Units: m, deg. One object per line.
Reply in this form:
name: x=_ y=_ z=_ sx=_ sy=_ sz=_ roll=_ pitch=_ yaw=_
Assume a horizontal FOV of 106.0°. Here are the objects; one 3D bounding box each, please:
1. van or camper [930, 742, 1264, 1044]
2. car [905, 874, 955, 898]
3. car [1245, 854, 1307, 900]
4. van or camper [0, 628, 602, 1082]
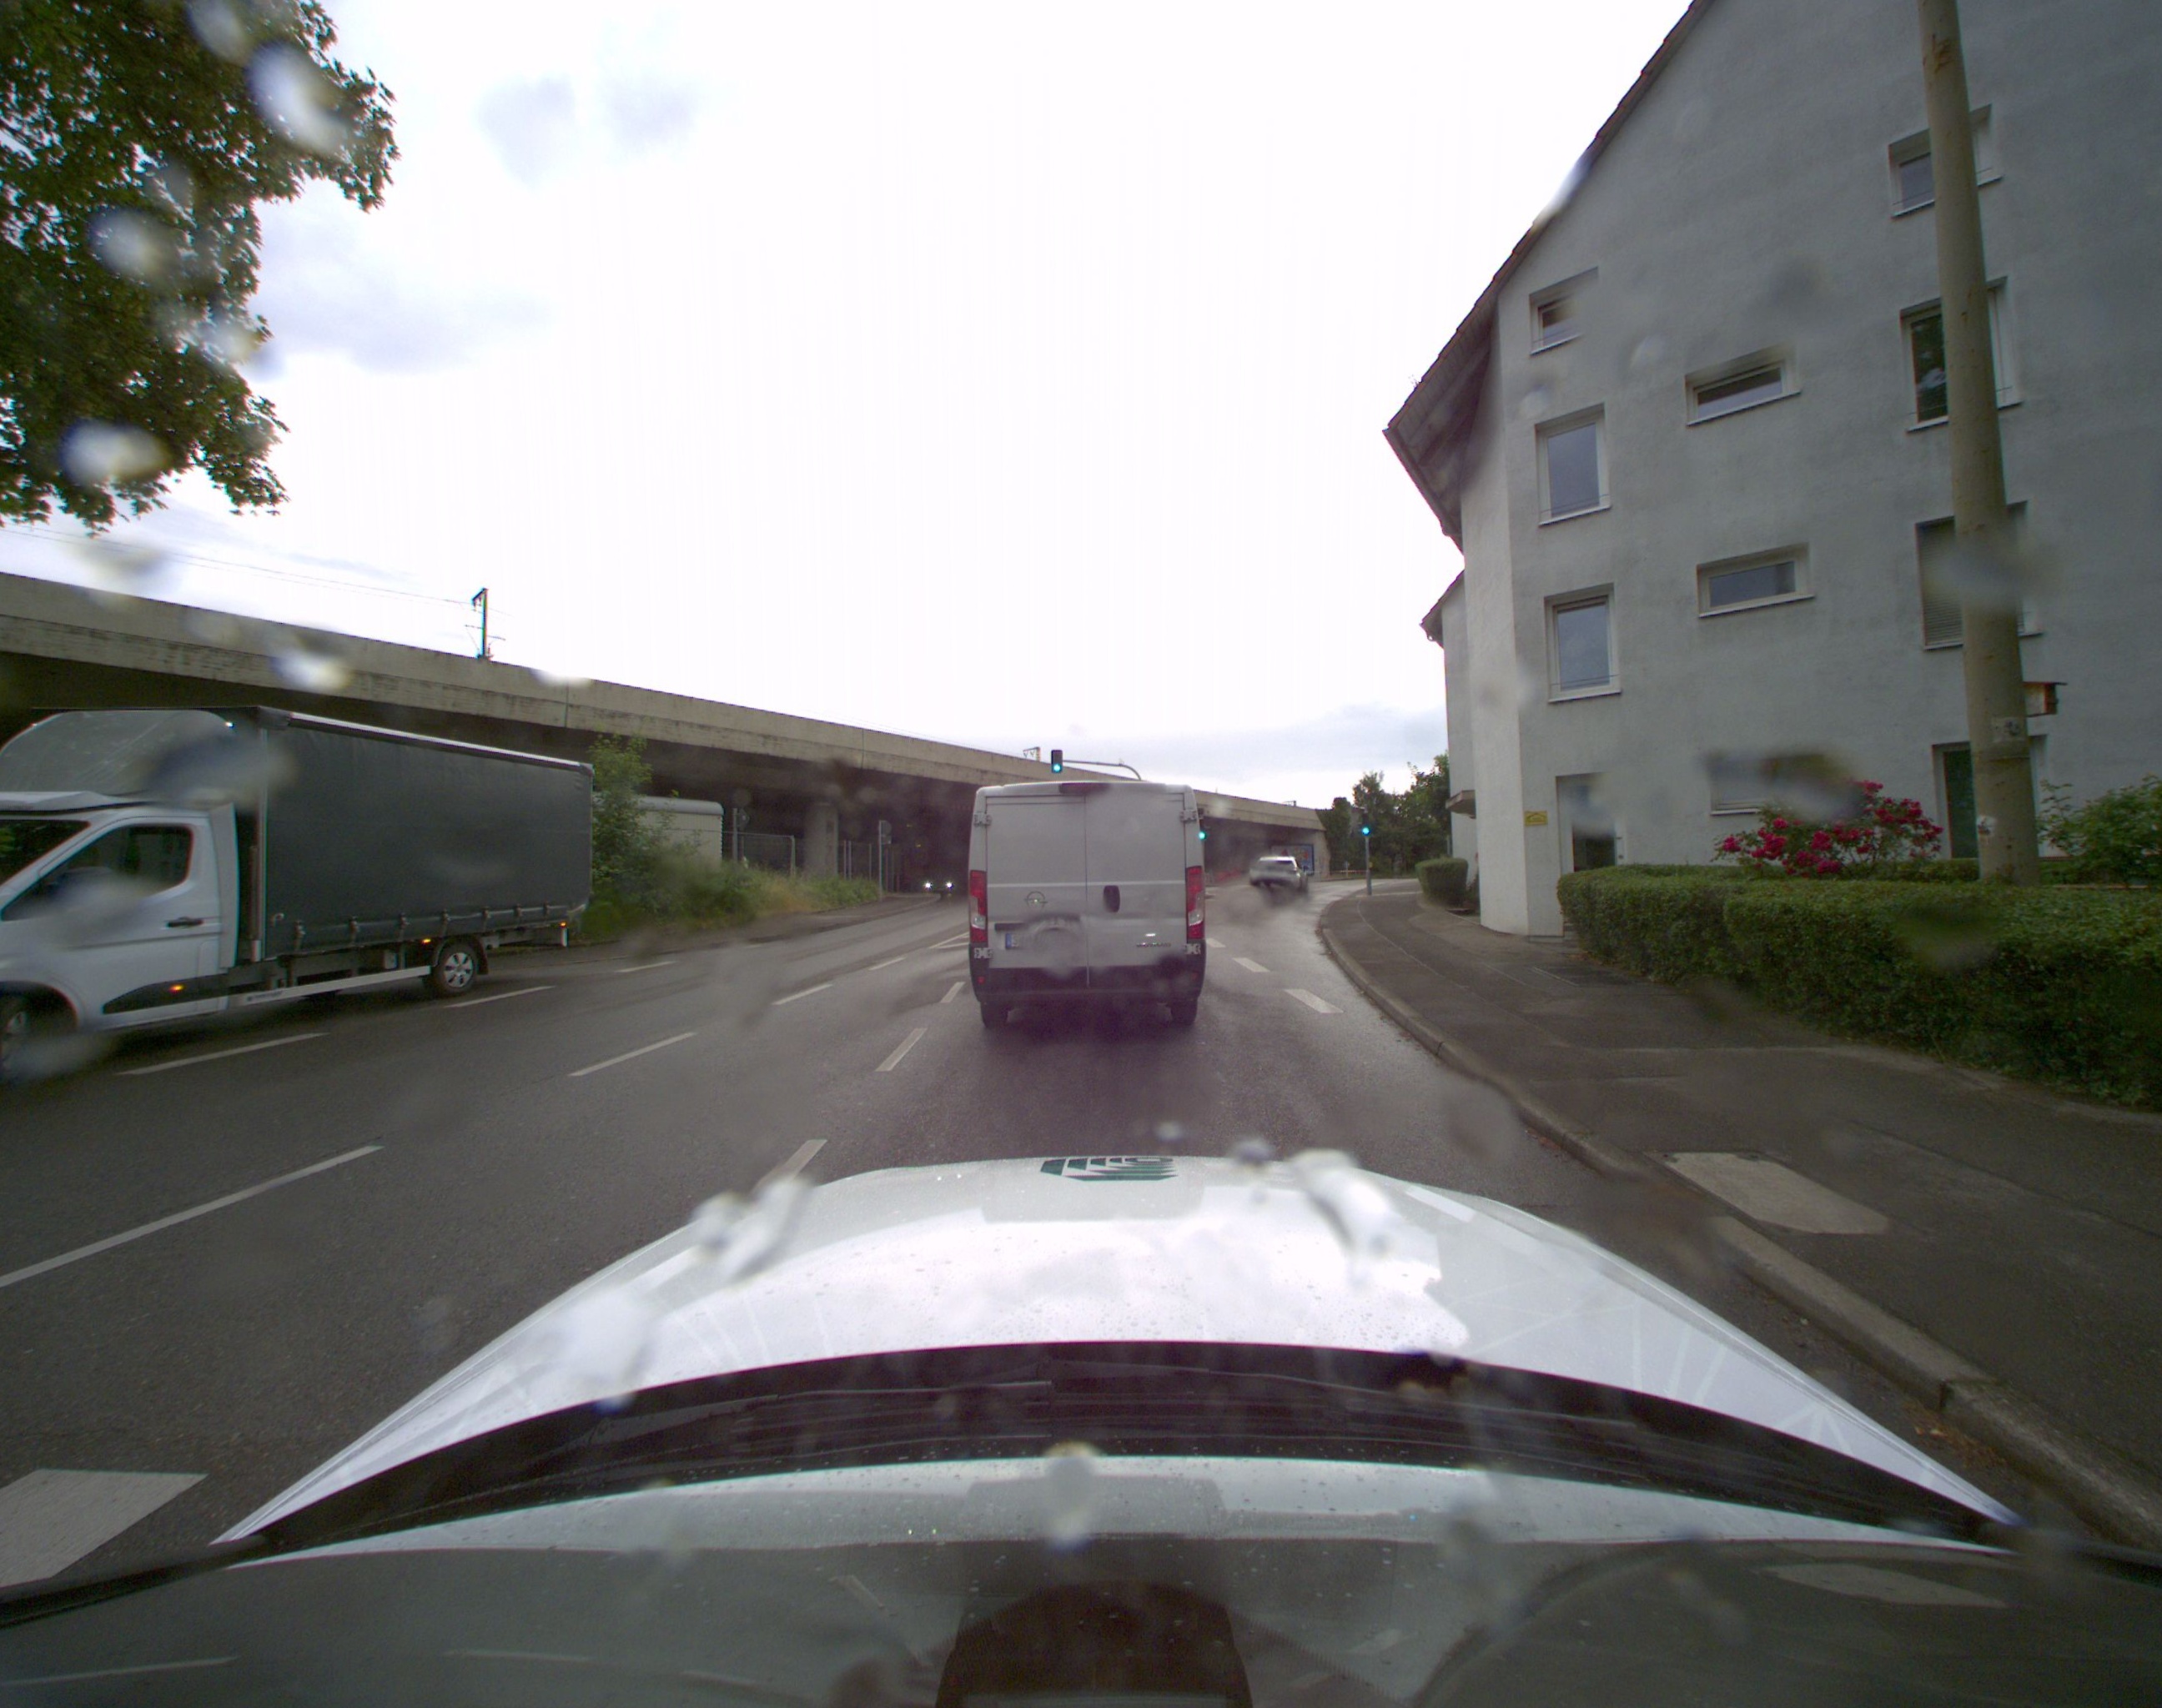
van or camper: x=0.127 y=0.337 z=9.100 sx=2.690 sy=2.417 sz=4.902 roll=-1 pitch=-1 yaw=0
car: x=-10.515 y=2.186 z=56.477 sx=2.006 sy=1.530 sz=4.456 roll=0 pitch=-1 yaw=-30
car: x=7.071 y=0.802 z=29.300 sx=1.860 sy=1.530 sz=4.018 roll=-1 pitch=-1 yaw=17
van or camper: x=-9.170 y=0.060 z=9.172 sx=2.688 sy=3.335 sz=7.765 roll=-1 pitch=-1 yaw=2
